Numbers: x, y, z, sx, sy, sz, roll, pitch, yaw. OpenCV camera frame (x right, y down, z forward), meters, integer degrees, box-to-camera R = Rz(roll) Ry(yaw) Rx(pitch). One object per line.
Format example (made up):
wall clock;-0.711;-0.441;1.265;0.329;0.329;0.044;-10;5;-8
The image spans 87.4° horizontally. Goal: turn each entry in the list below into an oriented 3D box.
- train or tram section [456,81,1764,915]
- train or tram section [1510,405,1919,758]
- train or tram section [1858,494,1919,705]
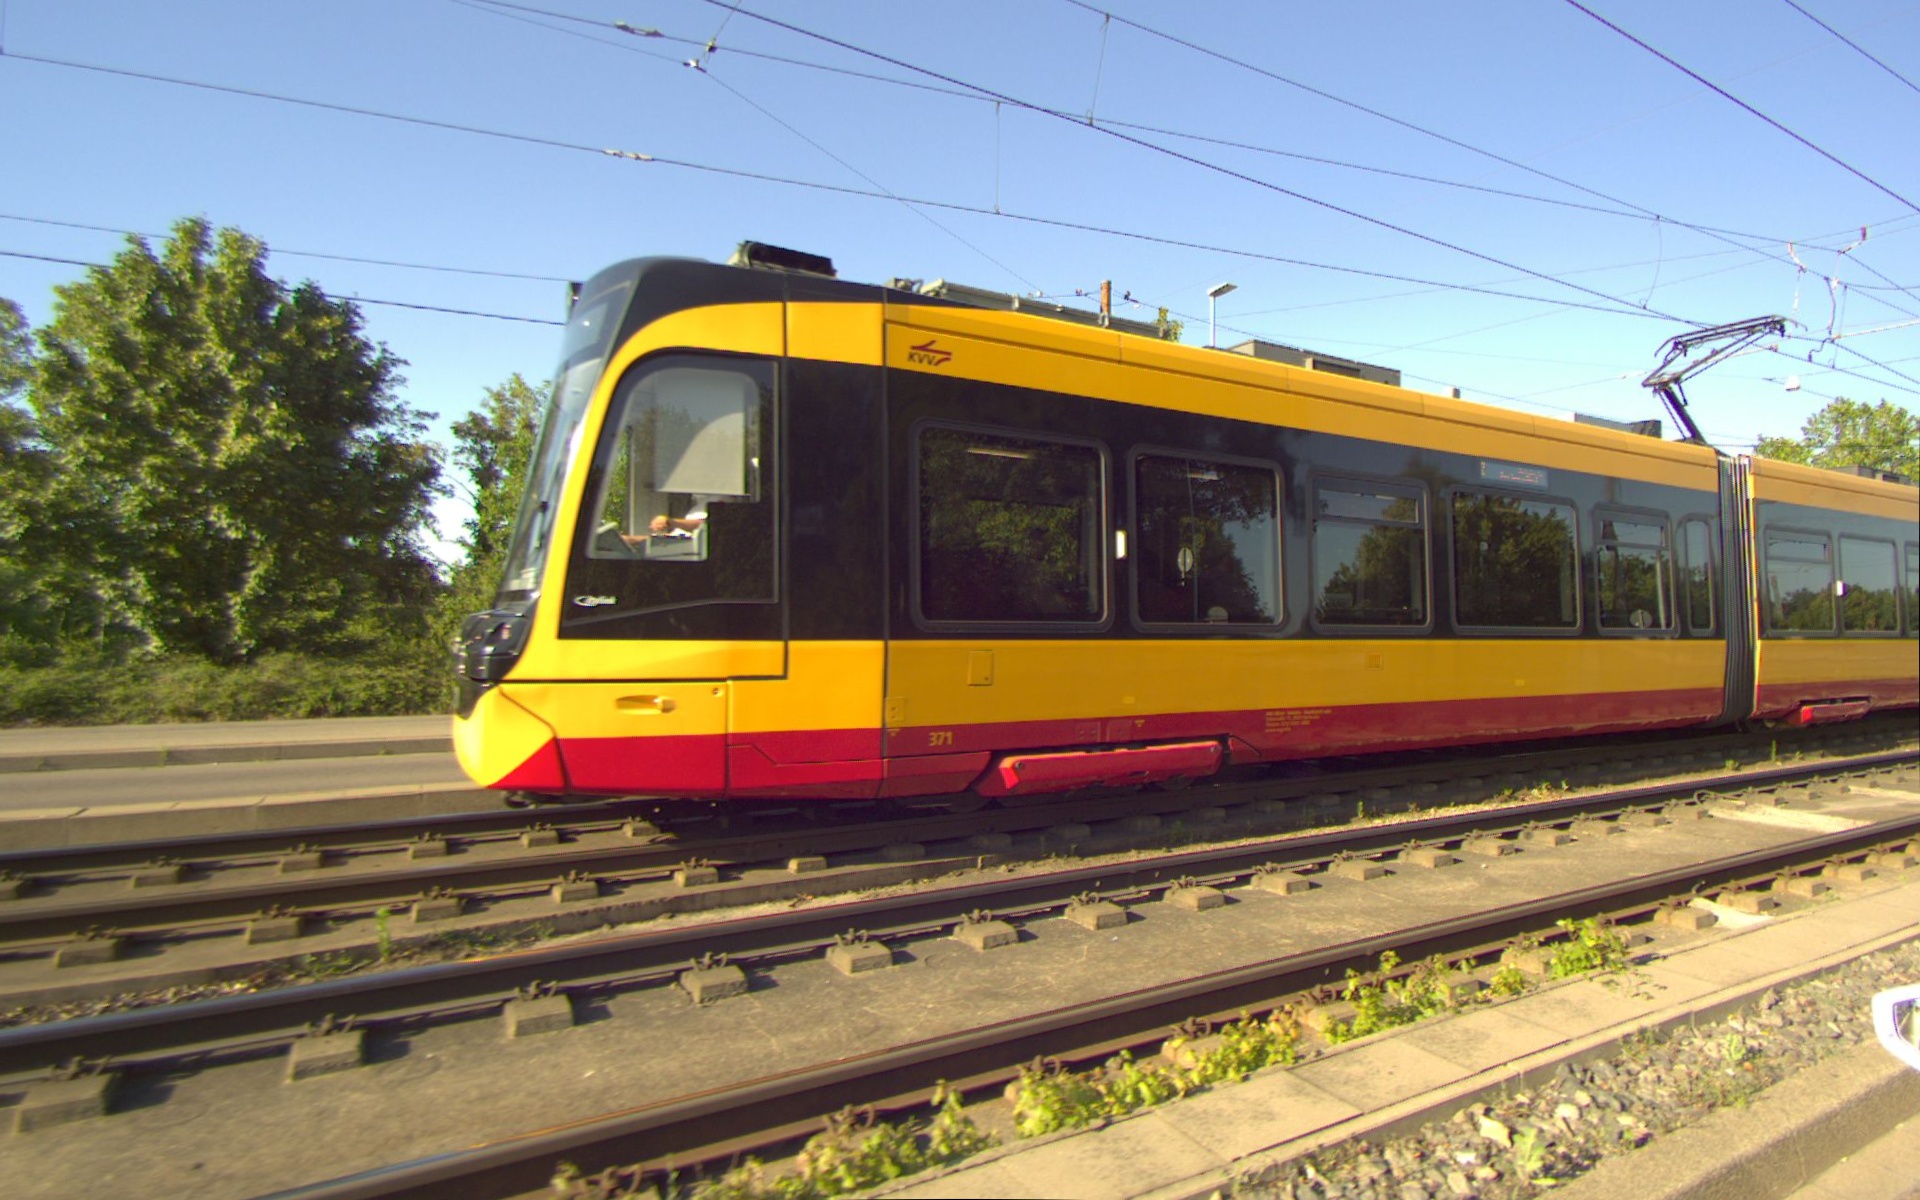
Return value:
train or tram section;2.645;-0.354;9.288;12.924;3.952;2.990;1;-1;-30
train or tram section;13.288;-0.091;15.423;11.525;3.952;2.963;1;-1;-30
train or tram section;23.683;0.106;21.434;12.550;3.952;2.964;1;-1;-30
